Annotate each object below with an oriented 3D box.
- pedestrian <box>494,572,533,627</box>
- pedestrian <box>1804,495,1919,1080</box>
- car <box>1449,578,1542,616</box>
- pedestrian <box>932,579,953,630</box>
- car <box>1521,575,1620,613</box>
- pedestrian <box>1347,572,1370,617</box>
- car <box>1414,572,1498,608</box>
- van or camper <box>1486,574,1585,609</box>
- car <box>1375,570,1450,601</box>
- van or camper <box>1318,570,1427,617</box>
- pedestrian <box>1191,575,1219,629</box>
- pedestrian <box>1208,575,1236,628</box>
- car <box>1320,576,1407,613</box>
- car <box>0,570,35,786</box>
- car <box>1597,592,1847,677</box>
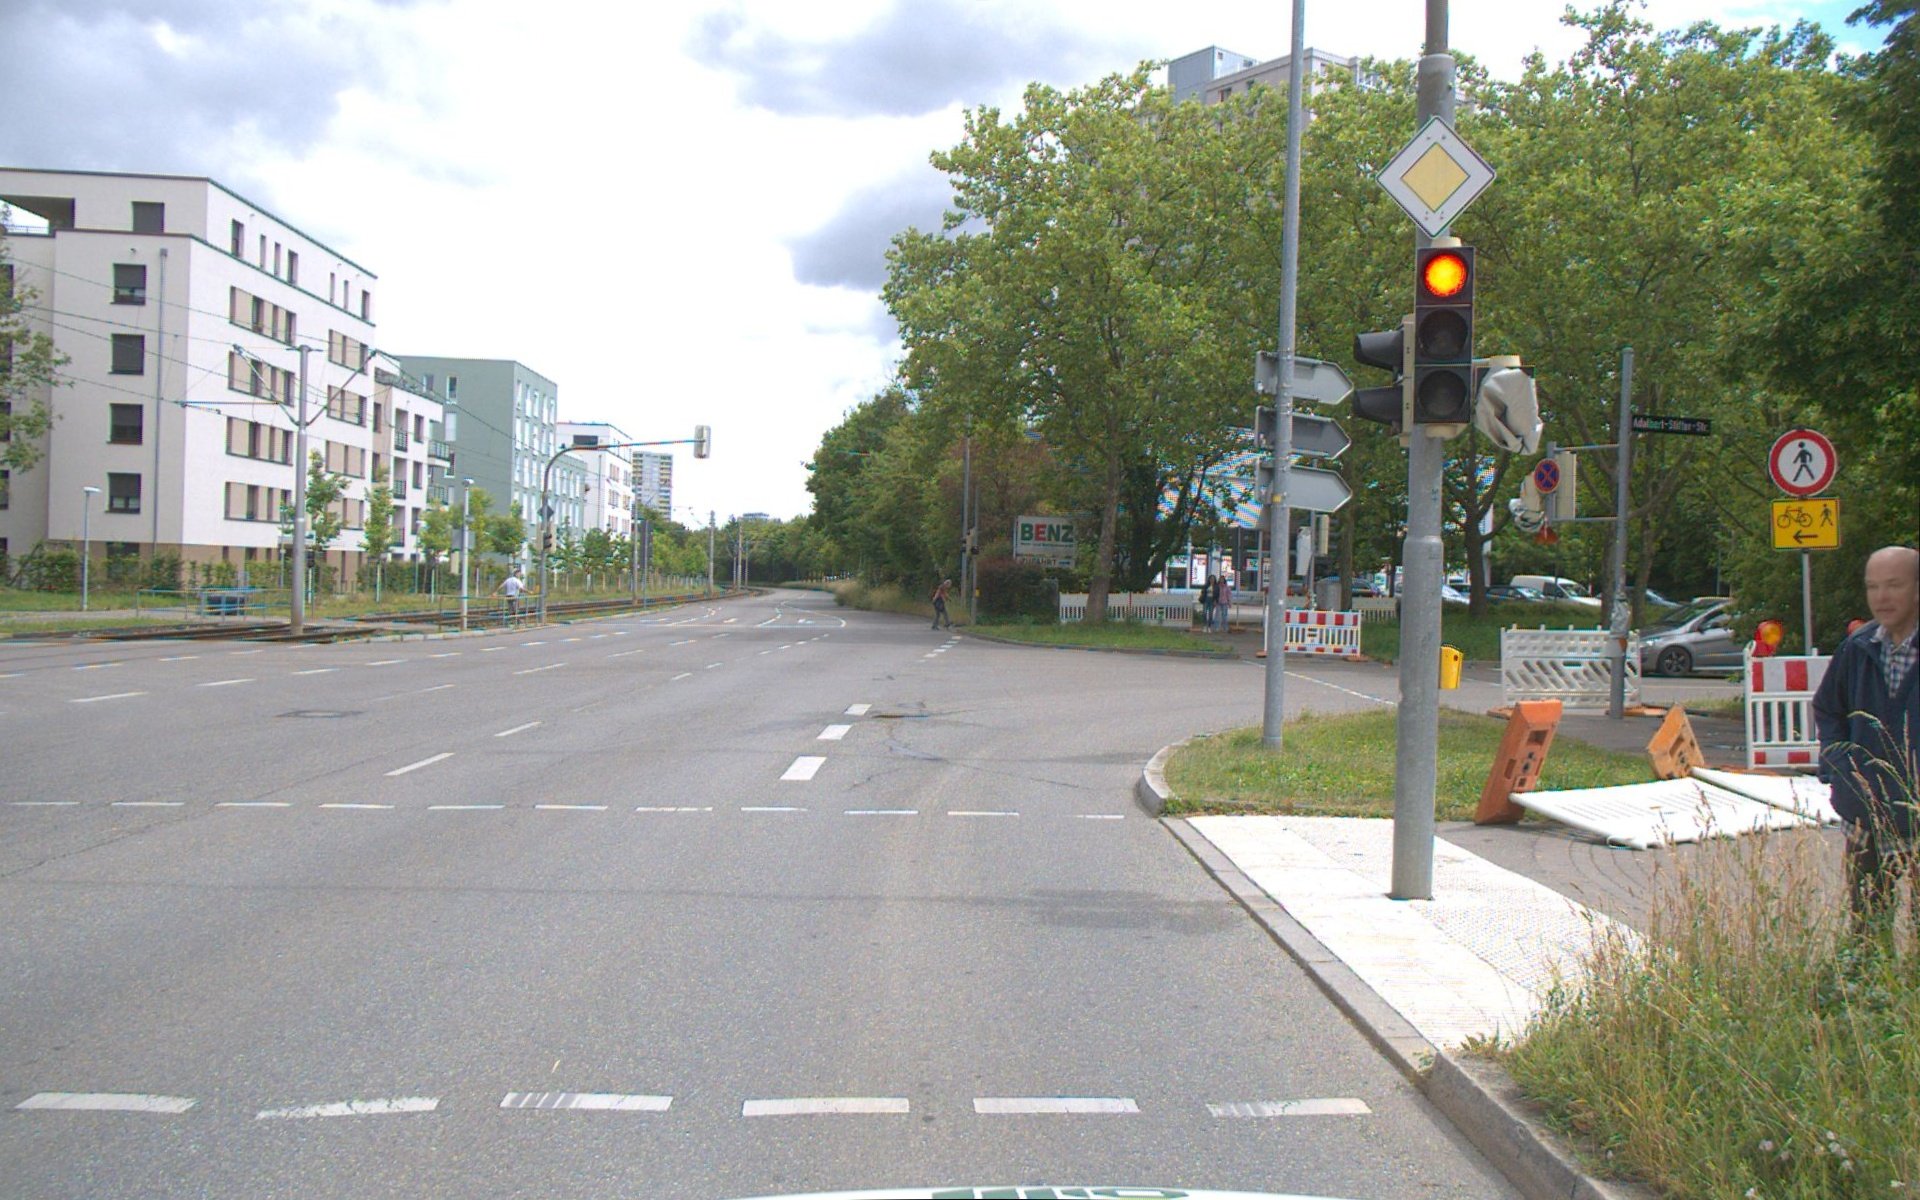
[{"bbox_3d":[-13.276,-0.025,49.205,0.843,1.614,0.784,1,-1,-40],"label":"pedestrian"},{"bbox_3d":[3.176,0.566,5.398,0.712,1.770,0.954,1,0,28],"label":"pedestrian"},{"bbox_3d":[21.097,-0.120,65.261,1.464,1.429,3.375,1,0,-30],"label":"car"},{"bbox_3d":[-0.556,0.137,52.001,0.640,1.565,0.772,1,-1,-1],"label":"pedestrian"},{"bbox_3d":[25.542,-0.250,69.259,1.465,1.491,3.851,1,0,-31],"label":"car"},{"bbox_3d":[18.353,-0.236,76.146,0.789,2.037,0.852,1,-1,-5],"label":"pedestrian"},{"bbox_3d":[24.053,-0.499,80.260,1.650,1.663,3.783,1,1,-31],"label":"car"},{"bbox_3d":[23.595,-0.340,67.892,1.499,1.380,3.732,1,0,-33],"label":"van or camper"},{"bbox_3d":[21.468,-0.687,78.562,1.465,1.429,3.372,1,0,-31],"label":"car"},{"bbox_3d":[15.491,-0.257,62.241,1.819,1.713,3.964,0,1,-28],"label":"van or camper"},{"bbox_3d":[7.005,0.052,47.335,0.702,1.515,0.700,1,-1,14],"label":"pedestrian"},{"bbox_3d":[7.597,0.058,47.968,0.671,1.515,0.700,1,-1,17],"label":"pedestrian"},{"bbox_3d":[17.195,-0.225,70.501,3.345,1.471,1.477,1,0,-19],"label":"car"},{"bbox_3d":[-7.629,0.544,9.868,1.740,1.495,4.046,1,1,4],"label":"car"},{"bbox_3d":[15.537,0.688,33.860,4.307,1.614,1.772,1,0,0],"label":"car"}]
